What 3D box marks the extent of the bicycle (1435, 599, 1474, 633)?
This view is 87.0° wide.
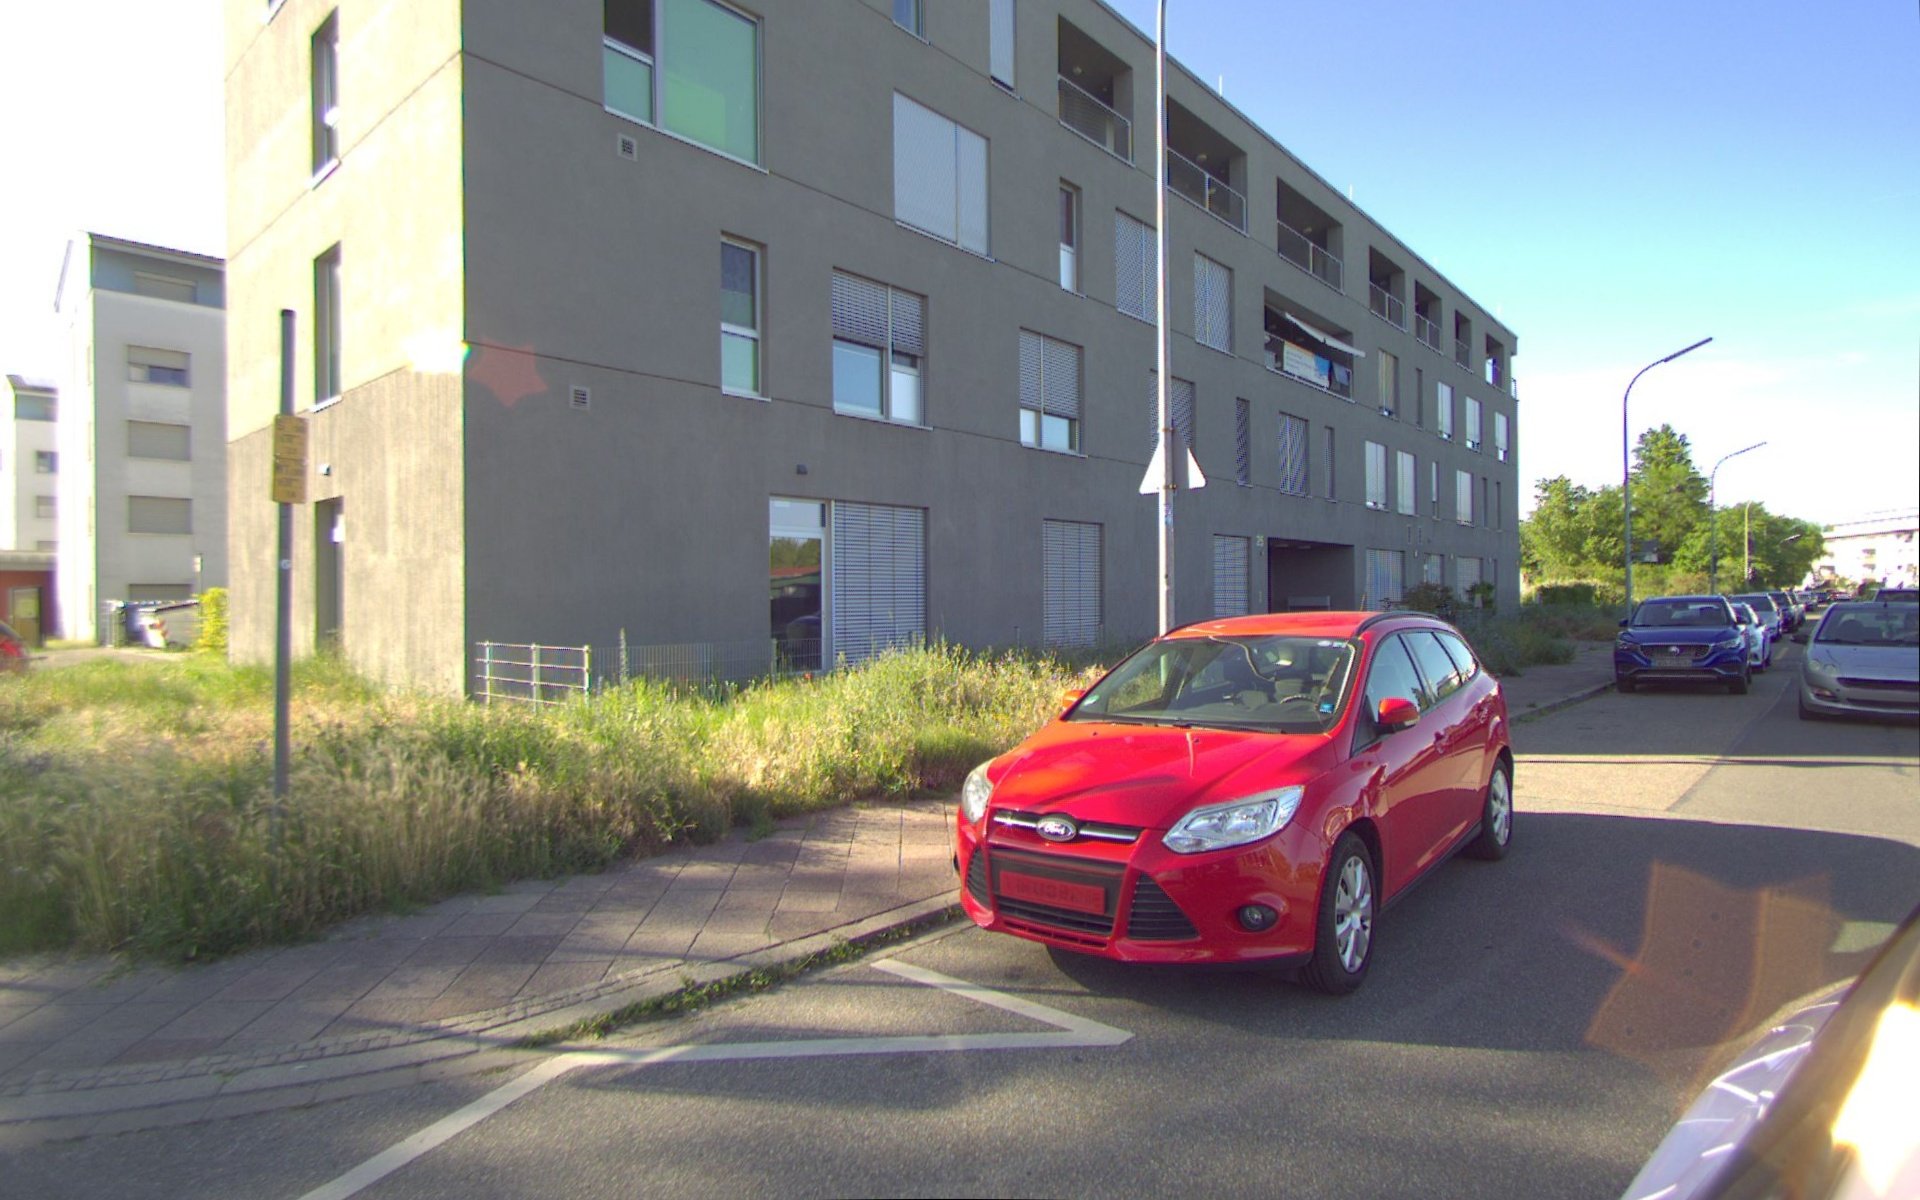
[{"bbox_3d":[16.176,0.503,33.084,1.812,1.075,0.552,-1,-1,-45],"label":"bicycle"}]

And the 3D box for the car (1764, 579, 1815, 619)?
[{"bbox_3d":[39.074,-0.070,47.639,1.704,1.727,4.287,-4,-2,40],"label":"car"}]

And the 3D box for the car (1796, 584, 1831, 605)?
[{"bbox_3d":[65.376,-0.456,77.474,1.867,1.545,4.092,-1,0,42],"label":"car"}]

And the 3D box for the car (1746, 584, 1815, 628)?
[{"bbox_3d":[32.390,0.212,39.904,1.744,1.587,4.728,-3,-1,43],"label":"car"}]

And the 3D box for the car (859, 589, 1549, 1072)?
[{"bbox_3d":[1.677,0.722,5.470,1.816,1.519,4.386,-2,-1,41],"label":"car"}]

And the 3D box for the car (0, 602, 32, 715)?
[{"bbox_3d":[-14.514,0.797,12.826,1.692,1.488,3.940,0,1,42],"label":"car"}]

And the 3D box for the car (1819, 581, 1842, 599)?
[{"bbox_3d":[101.140,-1.202,117.610,1.992,2.039,3.940,-1,0,41],"label":"car"}]

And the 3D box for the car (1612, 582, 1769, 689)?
[{"bbox_3d":[12.845,0.553,17.675,1.814,1.620,4.560,-4,-2,40],"label":"car"}]

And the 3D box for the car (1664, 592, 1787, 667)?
[{"bbox_3d":[16.858,0.605,22.206,1.743,1.447,4.516,-3,-1,42],"label":"car"}]

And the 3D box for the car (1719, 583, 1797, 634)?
[{"bbox_3d":[26.352,0.256,33.367,1.705,1.546,4.092,-2,-1,42],"label":"car"}]

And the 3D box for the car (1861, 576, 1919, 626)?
[{"bbox_3d":[34.820,0.008,37.282,1.937,1.749,4.776,0,0,36],"label":"car"}]

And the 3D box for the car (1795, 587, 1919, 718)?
[{"bbox_3d":[11.932,0.570,13.010,1.671,1.467,3.946,0,0,38],"label":"car"}]

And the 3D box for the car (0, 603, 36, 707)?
[{"bbox_3d":[-16.125,0.841,14.640,1.692,1.539,3.940,0,1,42],"label":"car"}]
